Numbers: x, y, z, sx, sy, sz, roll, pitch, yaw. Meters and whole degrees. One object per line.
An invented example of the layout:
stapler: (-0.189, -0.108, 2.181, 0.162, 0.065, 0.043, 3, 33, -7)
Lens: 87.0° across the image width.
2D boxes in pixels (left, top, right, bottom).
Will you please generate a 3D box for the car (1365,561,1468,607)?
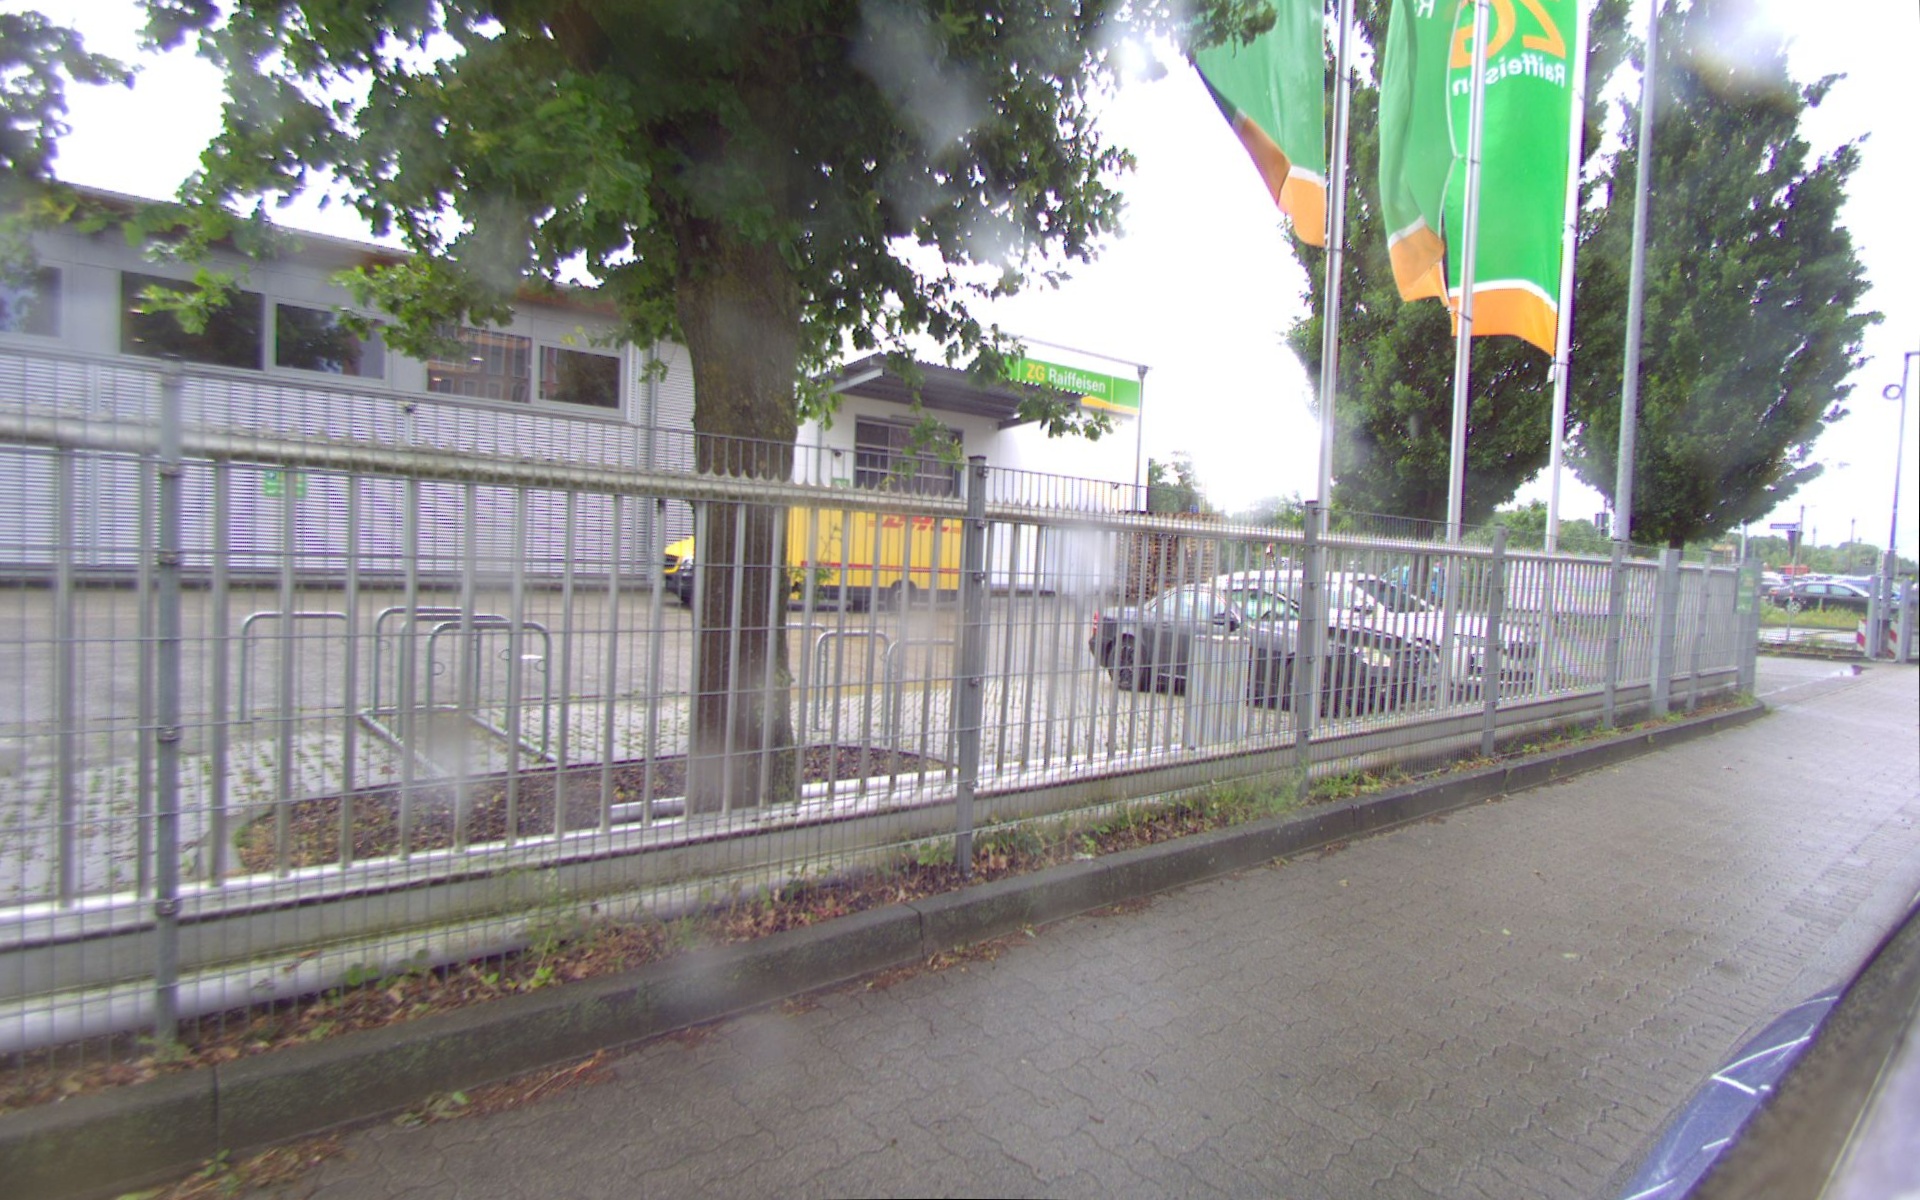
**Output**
car: (21.418, -0.779, 47.615, 1.799, 1.945, 3.996, 0, 3, -40)

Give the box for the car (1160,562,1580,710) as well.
car: (5.083, 0.315, 13.163, 1.857, 1.480, 4.713, 0, 3, -40)

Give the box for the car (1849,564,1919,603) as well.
car: (47.051, -0.769, 49.663, 2.088, 1.755, 4.700, -1, 5, -35)

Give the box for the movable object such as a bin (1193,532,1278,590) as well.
movable object such as a bin: (15.082, -2.161, 55.581, 1.964, 3.029, 3.997, 0, 3, -40)

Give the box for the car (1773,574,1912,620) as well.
car: (36.943, -0.173, 42.436, 4.219, 1.416, 1.862, 8, 7, 43)

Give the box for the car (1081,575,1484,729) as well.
car: (3.338, 0.425, 11.095, 1.590, 1.272, 3.947, 0, 3, -40)

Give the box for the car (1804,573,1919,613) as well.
car: (39.728, -0.325, 44.131, 1.857, 1.528, 4.193, -2, 4, -38)

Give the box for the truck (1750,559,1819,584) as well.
truck: (88.437, -3.052, 108.599, 2.115, 2.396, 5.303, -1, 5, -39)

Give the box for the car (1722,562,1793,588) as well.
car: (61.689, -1.949, 78.326, 1.753, 1.602, 3.919, -2, 7, -36)

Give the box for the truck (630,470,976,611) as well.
truck: (-3.275, -1.225, 22.445, 7.277, 2.691, 2.309, 0, 4, -37)

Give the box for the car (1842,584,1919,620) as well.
car: (44.334, 0.105, 47.356, 1.787, 1.535, 4.307, -2, 4, -38)

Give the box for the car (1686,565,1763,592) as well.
car: (53.615, -1.525, 71.040, 1.892, 1.501, 3.845, -2, 7, -36)

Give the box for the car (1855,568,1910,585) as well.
car: (100.714, -2.560, 110.536, 1.890, 1.507, 4.080, -2, 6, -37)

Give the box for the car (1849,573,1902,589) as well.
car: (98.500, -2.054, 108.908, 1.788, 1.443, 3.966, -2, 6, -37)

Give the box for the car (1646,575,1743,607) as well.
car: (45.477, -0.573, 62.727, 1.987, 1.737, 4.623, -2, 4, -44)
